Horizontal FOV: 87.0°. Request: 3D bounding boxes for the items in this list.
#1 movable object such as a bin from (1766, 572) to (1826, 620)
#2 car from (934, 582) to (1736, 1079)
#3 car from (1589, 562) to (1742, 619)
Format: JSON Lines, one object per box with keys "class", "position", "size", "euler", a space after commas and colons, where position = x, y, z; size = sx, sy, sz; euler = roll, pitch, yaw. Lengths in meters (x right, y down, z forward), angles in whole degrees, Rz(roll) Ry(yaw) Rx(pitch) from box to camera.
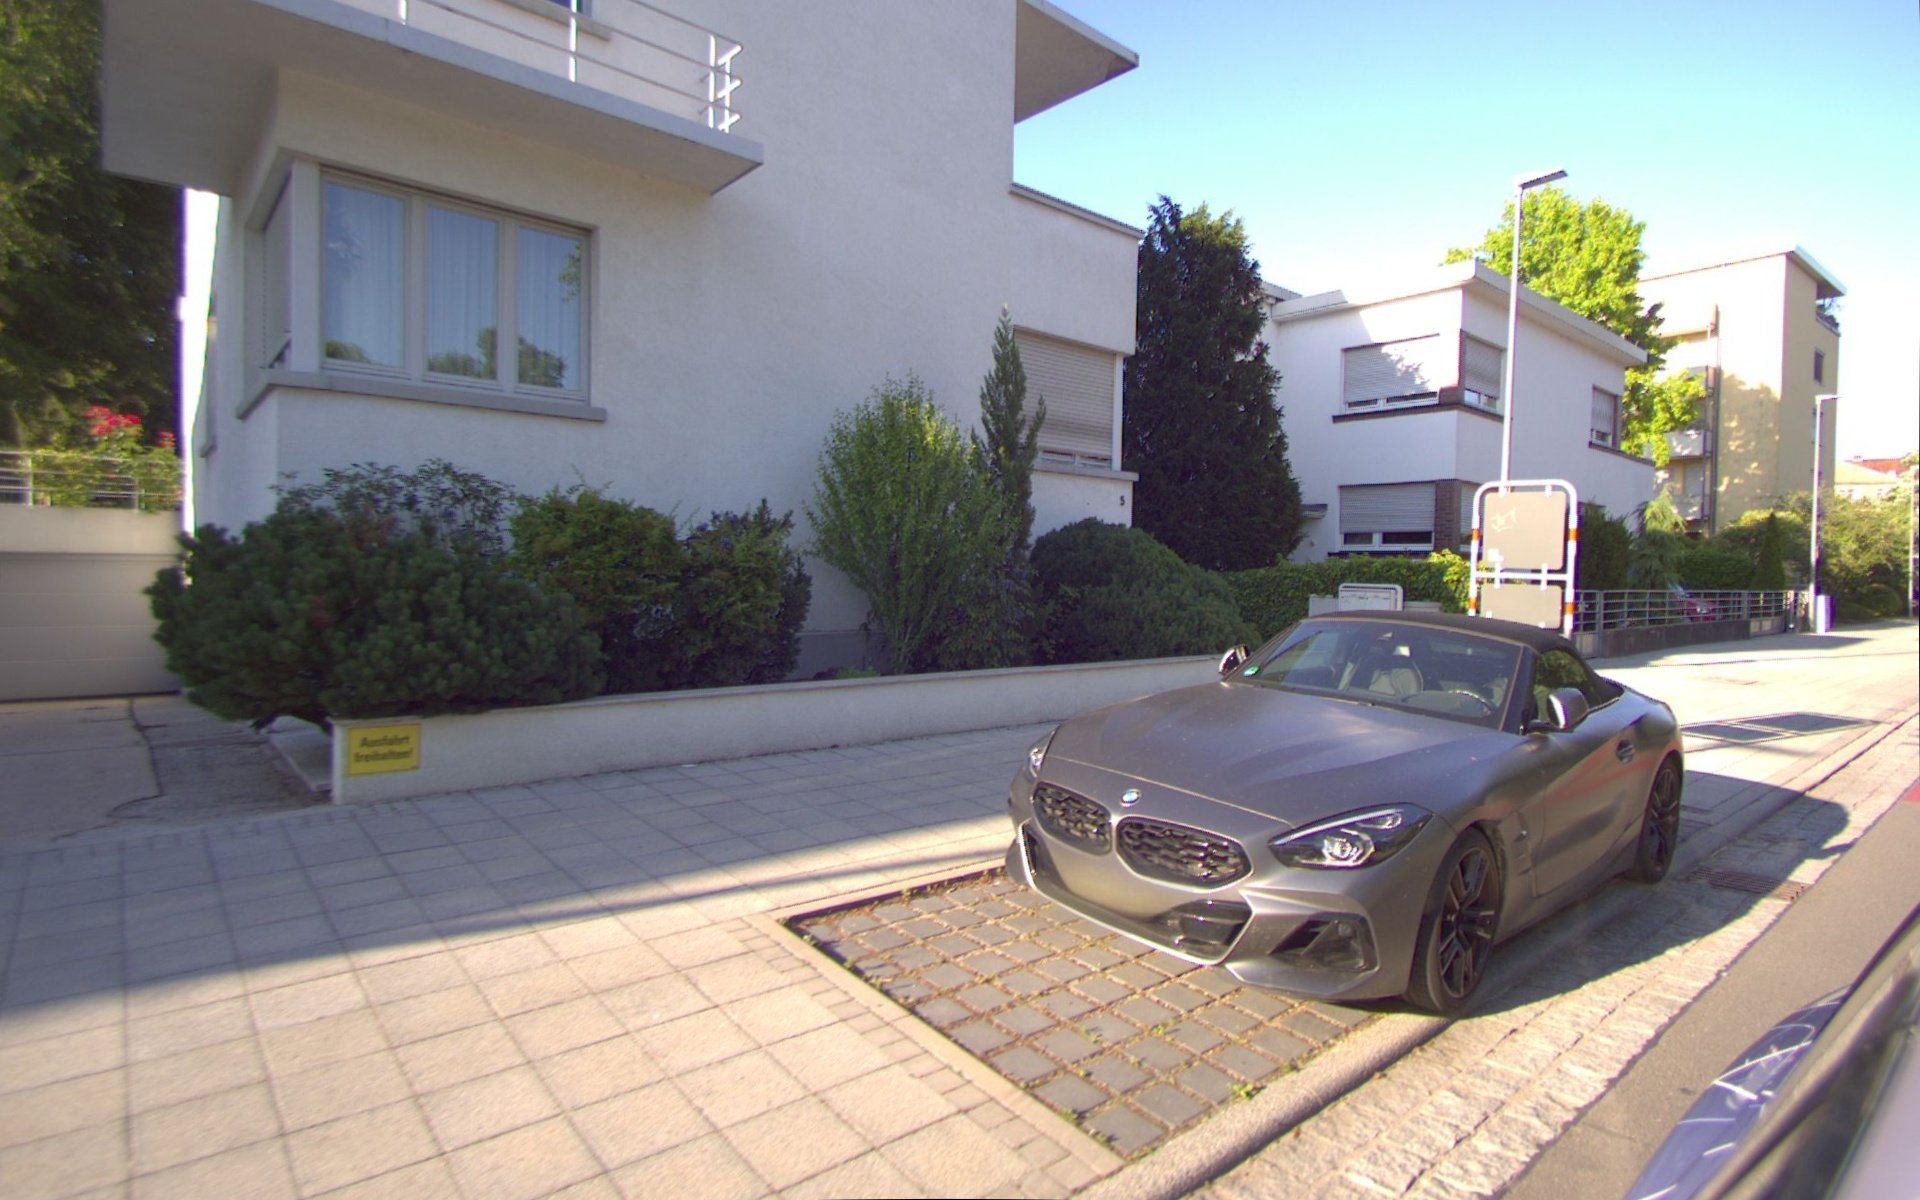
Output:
{"class": "movable object such as a bin", "position": [25.978, -0.129, 31.455], "size": [1.103, 1.450, 1.240], "euler": [-1, 2, -39]}
{"class": "car", "position": [2.079, 0.650, 4.919], "size": [4.197, 1.304, 1.779], "euler": [0, 4, -41]}
{"class": "car", "position": [21.618, -0.341, 31.146], "size": [1.611, 1.662, 3.507], "euler": [-1, 2, -32]}
